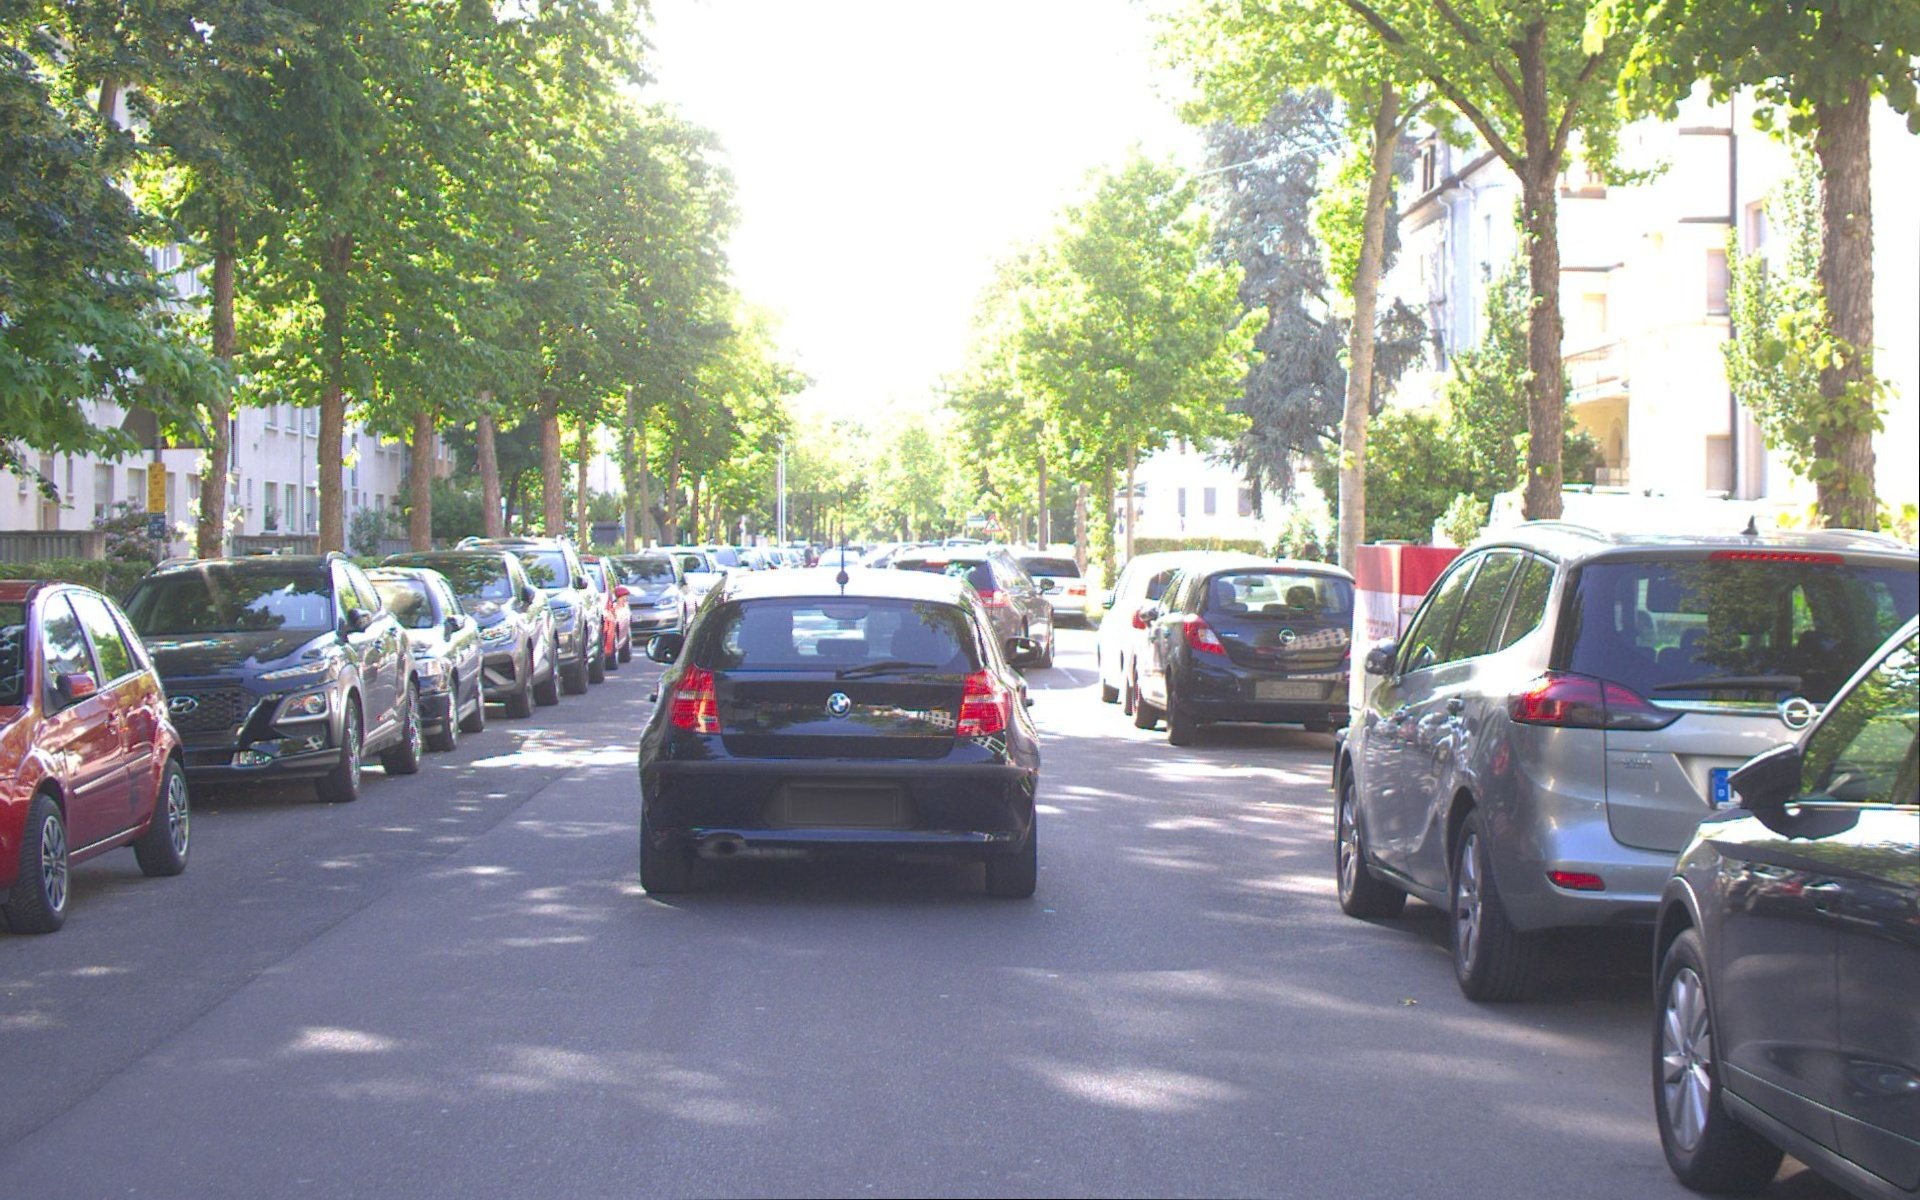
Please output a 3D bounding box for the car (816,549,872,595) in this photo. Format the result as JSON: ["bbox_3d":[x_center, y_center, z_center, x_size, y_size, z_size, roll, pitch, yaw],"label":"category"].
[{"bbox_3d":[-3.885,-0.955,114.928,1.809,1.441,4.367,-2,1,-2],"label":"car"}]

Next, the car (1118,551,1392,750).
[{"bbox_3d":[2.353,0.359,28.377,1.670,1.445,4.179,2,1,-3],"label":"car"}]

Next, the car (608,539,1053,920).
[{"bbox_3d":[-0.639,0.491,15.964,1.782,1.518,4.001,-1,1,-3],"label":"car"}]

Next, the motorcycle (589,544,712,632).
[{"bbox_3d":[-5.411,-0.210,60.013,0.987,1.498,2.233,-2,1,-41],"label":"motorcycle"}]

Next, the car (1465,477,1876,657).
[{"bbox_3d":[9.521,-0.466,46.061,5.039,2.298,2.235,-1,1,-24],"label":"car"}]

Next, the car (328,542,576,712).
[{"bbox_3d":[-4.826,0.205,33.200,1.769,1.526,4.420,0,1,0],"label":"car"}]

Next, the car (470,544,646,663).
[{"bbox_3d":[-5.176,0.011,44.692,1.856,1.464,4.182,0,1,-1],"label":"car"}]

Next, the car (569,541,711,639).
[{"bbox_3d":[-5.174,-0.190,56.093,2.042,1.519,4.607,0,1,-2],"label":"car"}]

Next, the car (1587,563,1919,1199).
[{"bbox_3d":[2.583,0.707,7.131,1.718,1.511,4.345,1,1,0],"label":"car"}]

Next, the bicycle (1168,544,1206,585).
[{"bbox_3d":[6.998,-1.100,106.239,0.838,1.253,2.232,1,1,-5],"label":"bicycle"}]

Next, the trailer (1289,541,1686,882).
[{"bbox_3d":[2.681,0.505,18.076,1.574,1.573,3.192,2,1,1],"label":"trailer"}]

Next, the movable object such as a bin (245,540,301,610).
[{"bbox_3d":[-13.100,-0.476,65.578,0.929,1.319,1.379,-1,1,-7],"label":"movable object such as a bin"}]

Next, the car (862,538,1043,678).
[{"bbox_3d":[-0.152,0.082,40.306,1.895,1.519,4.967,1,0,-3],"label":"car"}]

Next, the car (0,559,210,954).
[{"bbox_3d":[-4.522,0.590,15.220,1.654,1.499,4.069,-1,1,-3],"label":"car"}]

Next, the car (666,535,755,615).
[{"bbox_3d":[-5.471,-0.558,75.740,1.728,1.612,4.367,-3,1,-2],"label":"car"}]

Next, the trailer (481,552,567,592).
[{"bbox_3d":[-11.443,-0.744,90.363,1.789,1.030,3.281,0,1,1],"label":"trailer"}]

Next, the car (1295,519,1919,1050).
[{"bbox_3d":[2.528,0.553,13.307,1.792,1.637,4.819,2,1,-2],"label":"car"}]

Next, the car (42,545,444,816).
[{"bbox_3d":[-4.574,0.438,22.561,1.706,1.571,4.482,-1,1,0],"label":"car"}]

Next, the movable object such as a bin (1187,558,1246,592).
[{"bbox_3d":[6.999,-0.692,93.872,1.222,0.901,1.663,0,1,19],"label":"movable object such as a bin"}]

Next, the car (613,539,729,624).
[{"bbox_3d":[-5.348,-0.380,63.990,2.063,1.519,4.723,0,1,-4],"label":"car"}]

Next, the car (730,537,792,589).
[{"bbox_3d":[-6.268,-1.187,108.545,1.811,1.590,4.233,-1,1,-2],"label":"car"}]

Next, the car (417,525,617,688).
[{"bbox_3d":[-4.883,0.022,38.435,1.767,1.682,4.815,-1,1,-2],"label":"car"}]

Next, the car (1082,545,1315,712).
[{"bbox_3d":[2.219,0.229,32.946,1.732,1.482,4.010,1,1,-3],"label":"car"}]

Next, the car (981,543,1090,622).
[{"bbox_3d":[1.470,-0.382,68.651,1.821,1.464,4.910,2,1,-3],"label":"car"}]

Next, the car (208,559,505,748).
[{"bbox_3d":[-4.777,0.370,27.772,1.784,1.348,4.482,-1,1,-3],"label":"car"}]
